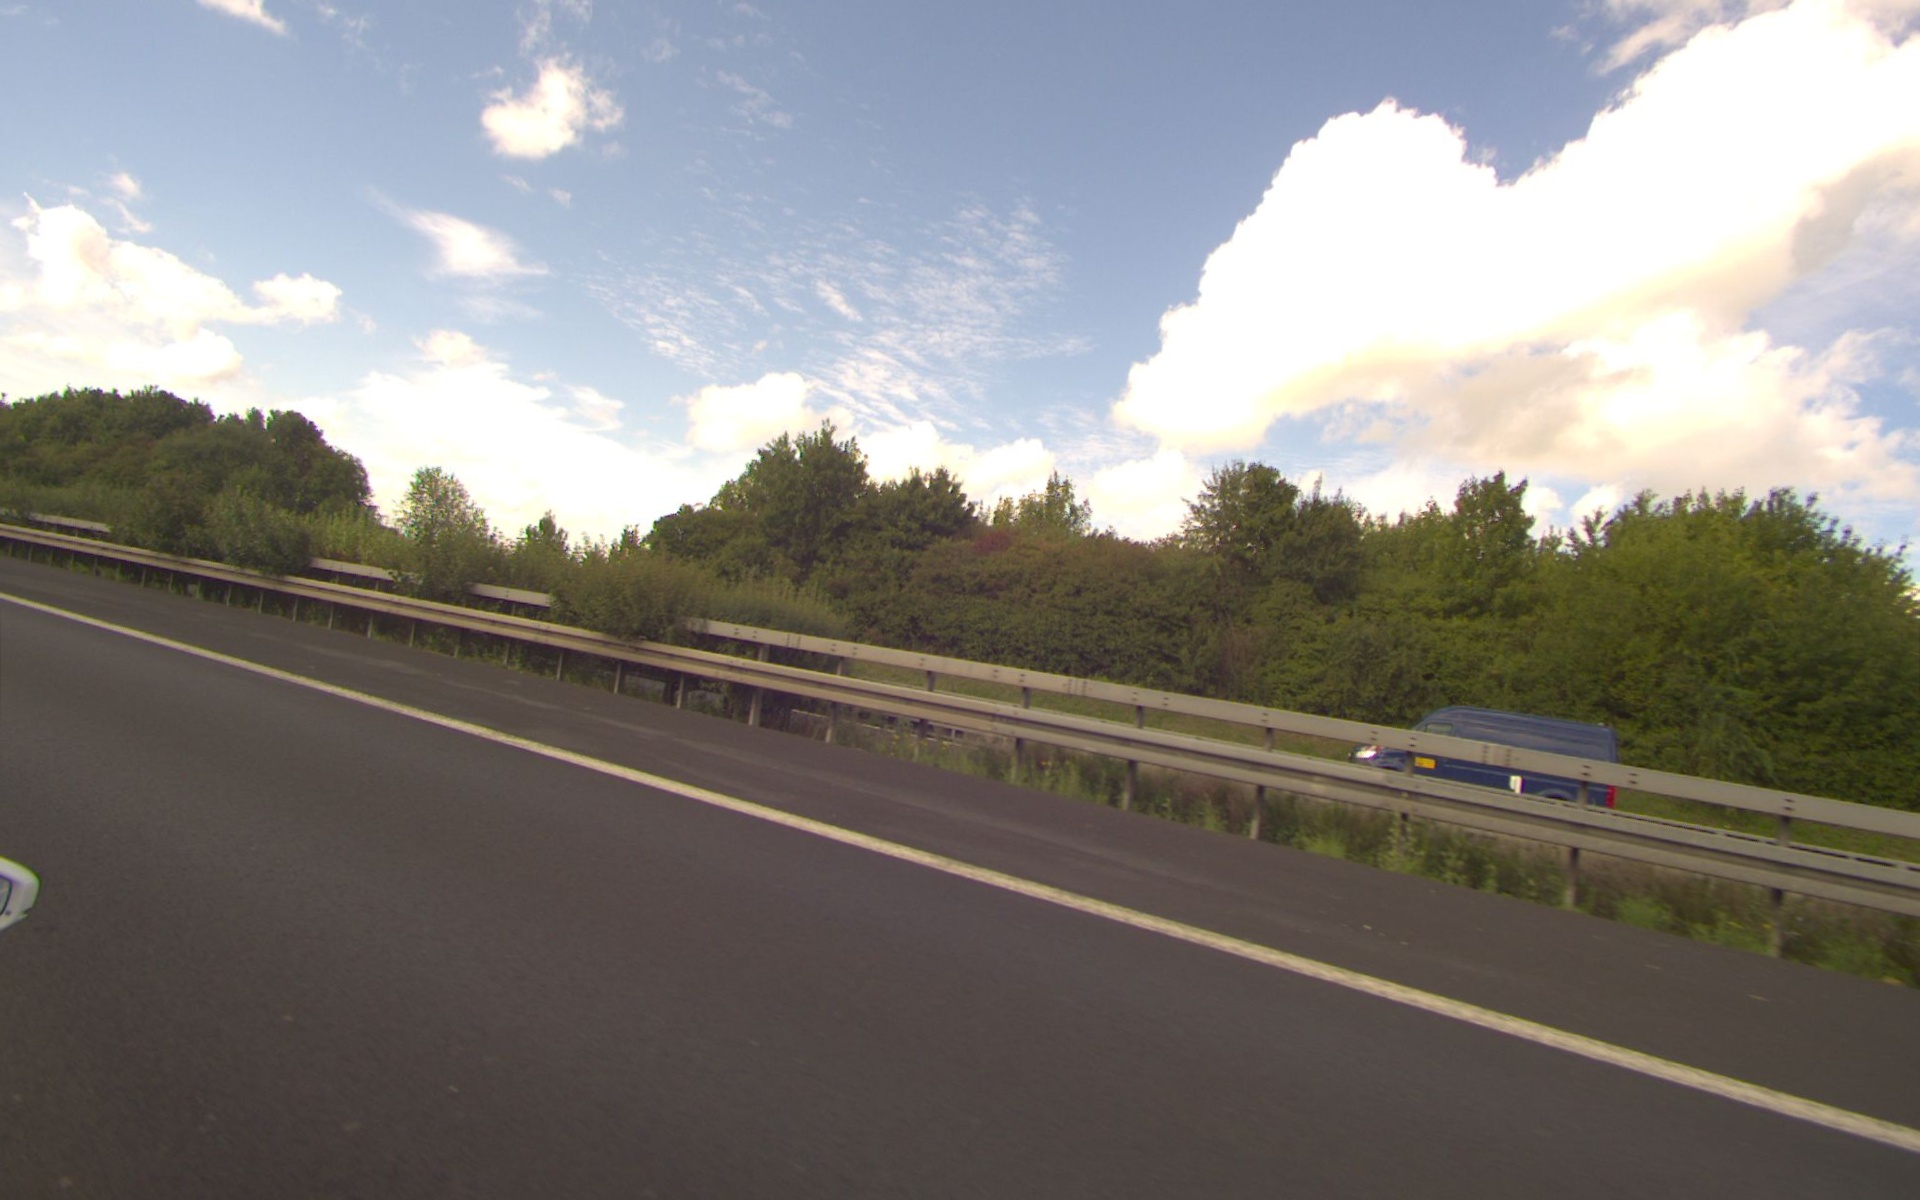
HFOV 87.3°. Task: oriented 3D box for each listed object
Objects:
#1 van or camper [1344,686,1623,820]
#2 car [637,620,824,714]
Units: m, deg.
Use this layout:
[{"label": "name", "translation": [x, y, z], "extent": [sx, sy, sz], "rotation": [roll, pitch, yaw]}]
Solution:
[{"label": "van or camper", "translation": [12.696, 3.653, 24.876], "extent": [5.674, 2.205, 2.198], "rotation": [7, -2, 24]}, {"label": "car", "translation": [-5.372, 1.542, 23.450], "extent": [3.958, 1.589, 1.788], "rotation": [7, -2, 31]}]
